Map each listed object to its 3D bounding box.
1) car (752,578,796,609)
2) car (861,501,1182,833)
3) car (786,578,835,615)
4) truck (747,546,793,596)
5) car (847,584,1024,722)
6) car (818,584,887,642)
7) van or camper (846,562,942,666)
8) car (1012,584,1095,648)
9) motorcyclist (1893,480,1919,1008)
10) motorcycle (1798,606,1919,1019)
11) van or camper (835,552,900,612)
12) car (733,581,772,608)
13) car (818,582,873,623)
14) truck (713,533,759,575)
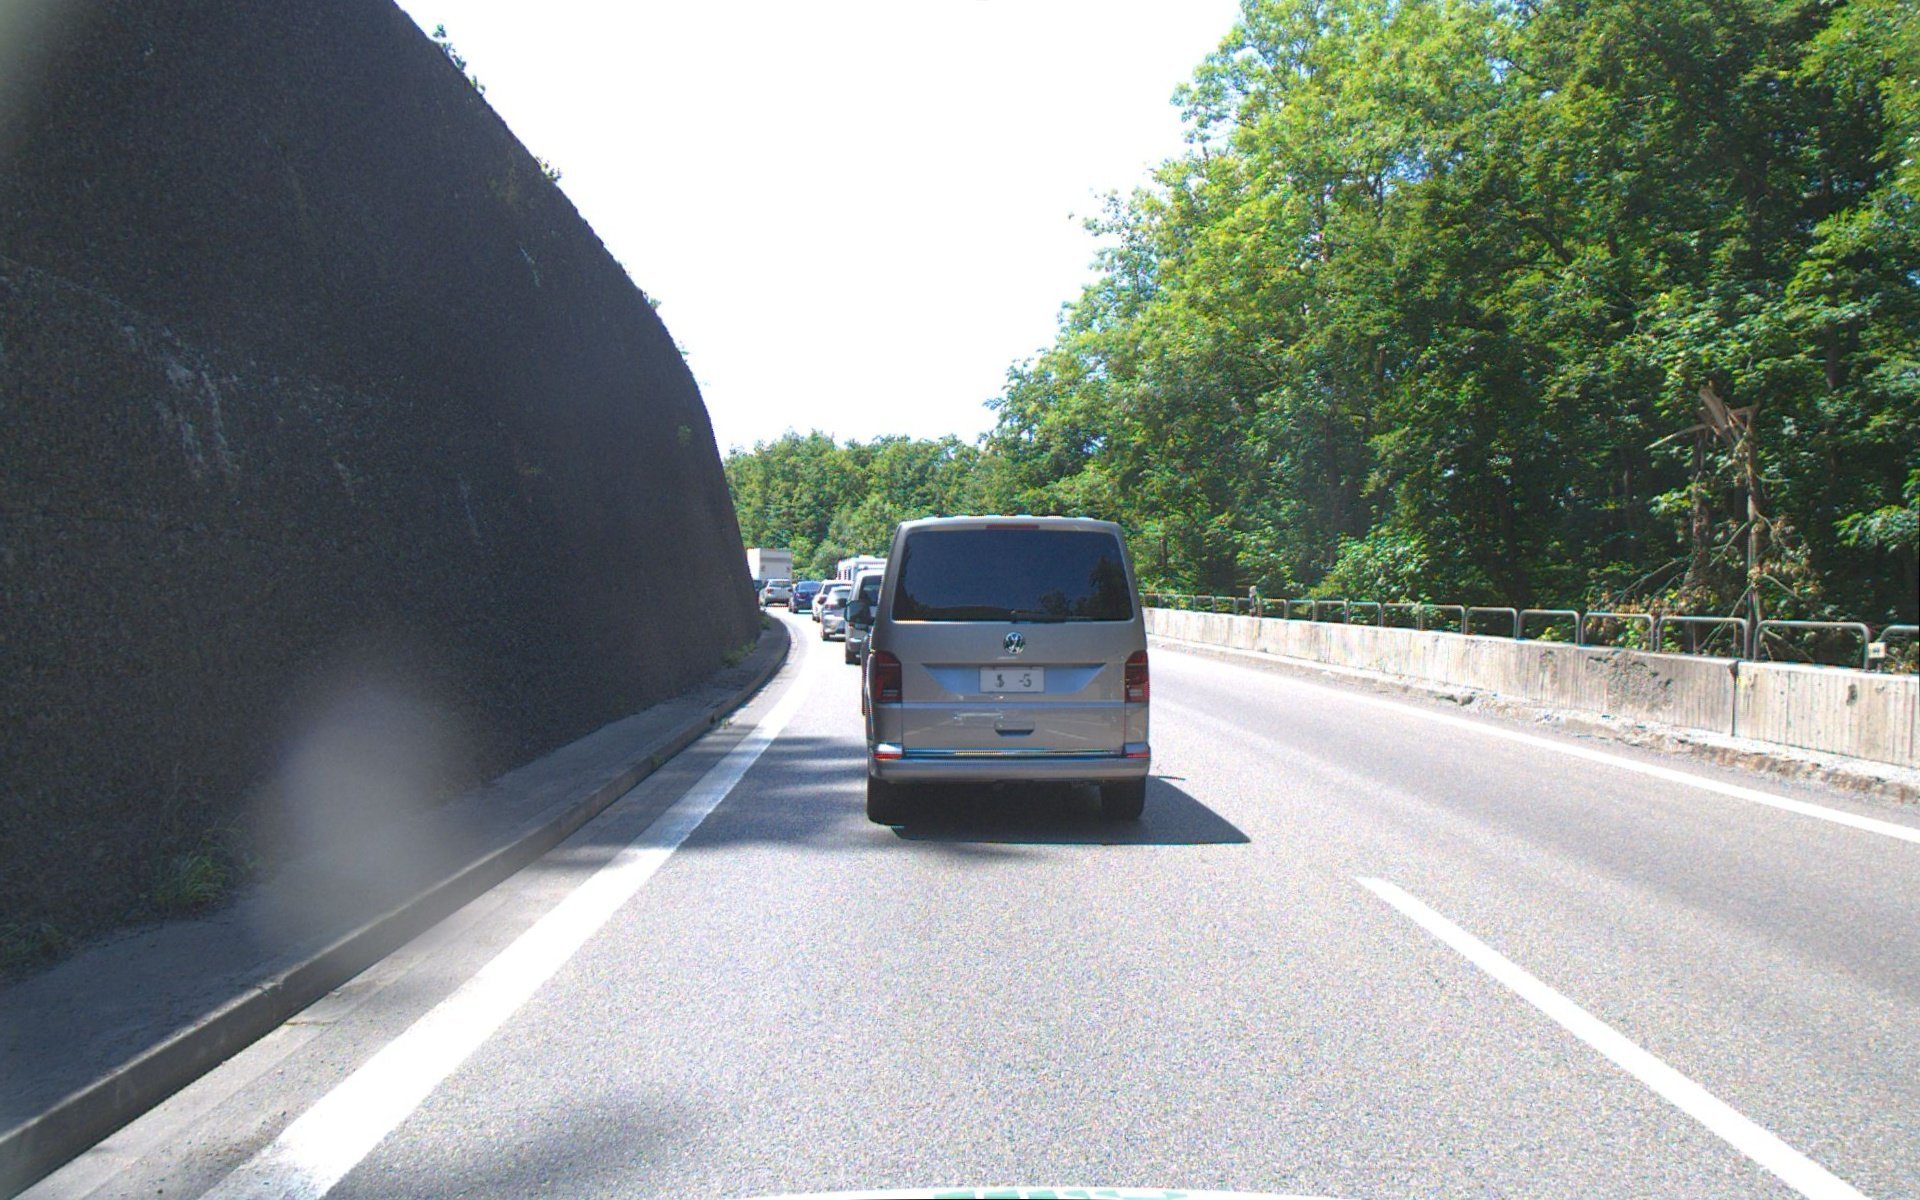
[{"bbox_3d":[-10.213,-0.381,90.534,1.959,1.646,3.988,1,1,-12],"label":"car"},{"bbox_3d":[0.314,0.382,12.283,1.901,1.965,4.693,1,0,-1],"label":"car"},{"bbox_3d":[-6.871,-0.174,75.828,1.825,1.648,3.989,1,0,-11],"label":"car"},{"bbox_3d":[-14.548,-2.178,126.371,2.873,3.751,7.703,0,0,-11],"label":"truck"},{"bbox_3d":[-0.420,0.586,20.939,1.868,1.515,4.374,2,0,-5],"label":"car"},{"bbox_3d":[-2.982,0.316,45.229,1.737,1.498,3.995,1,1,-6],"label":"car"},{"bbox_3d":[-1.380,0.245,33.298,1.817,1.976,4.162,0,0,-4],"label":"van or camper"},{"bbox_3d":[2.329,0.374,42.149,1.651,1.484,3.998,2,0,-3],"label":"car"},{"bbox_3d":[3.906,0.510,5.261,1.040,1.832,1.336,1,0,-6],"label":"motorcyclist"},{"bbox_3d":[3.918,0.769,5.281,0.953,1.444,2.679,1,0,-4],"label":"motorcycle"},{"bbox_3d":[-4.992,-0.989,88.390,2.556,2.904,6.322,5,0,-10],"label":"van or camper"},{"bbox_3d":[-12.878,-0.326,102.488,1.723,1.598,3.753,1,0,-18],"label":"car"},{"bbox_3d":[-4.354,0.070,62.541,1.827,1.512,3.994,1,1,-7],"label":"car"},{"bbox_3d":[-20.672,-4.219,152.435,3.111,3.527,8.193,5,0,-14],"label":"truck"}]
